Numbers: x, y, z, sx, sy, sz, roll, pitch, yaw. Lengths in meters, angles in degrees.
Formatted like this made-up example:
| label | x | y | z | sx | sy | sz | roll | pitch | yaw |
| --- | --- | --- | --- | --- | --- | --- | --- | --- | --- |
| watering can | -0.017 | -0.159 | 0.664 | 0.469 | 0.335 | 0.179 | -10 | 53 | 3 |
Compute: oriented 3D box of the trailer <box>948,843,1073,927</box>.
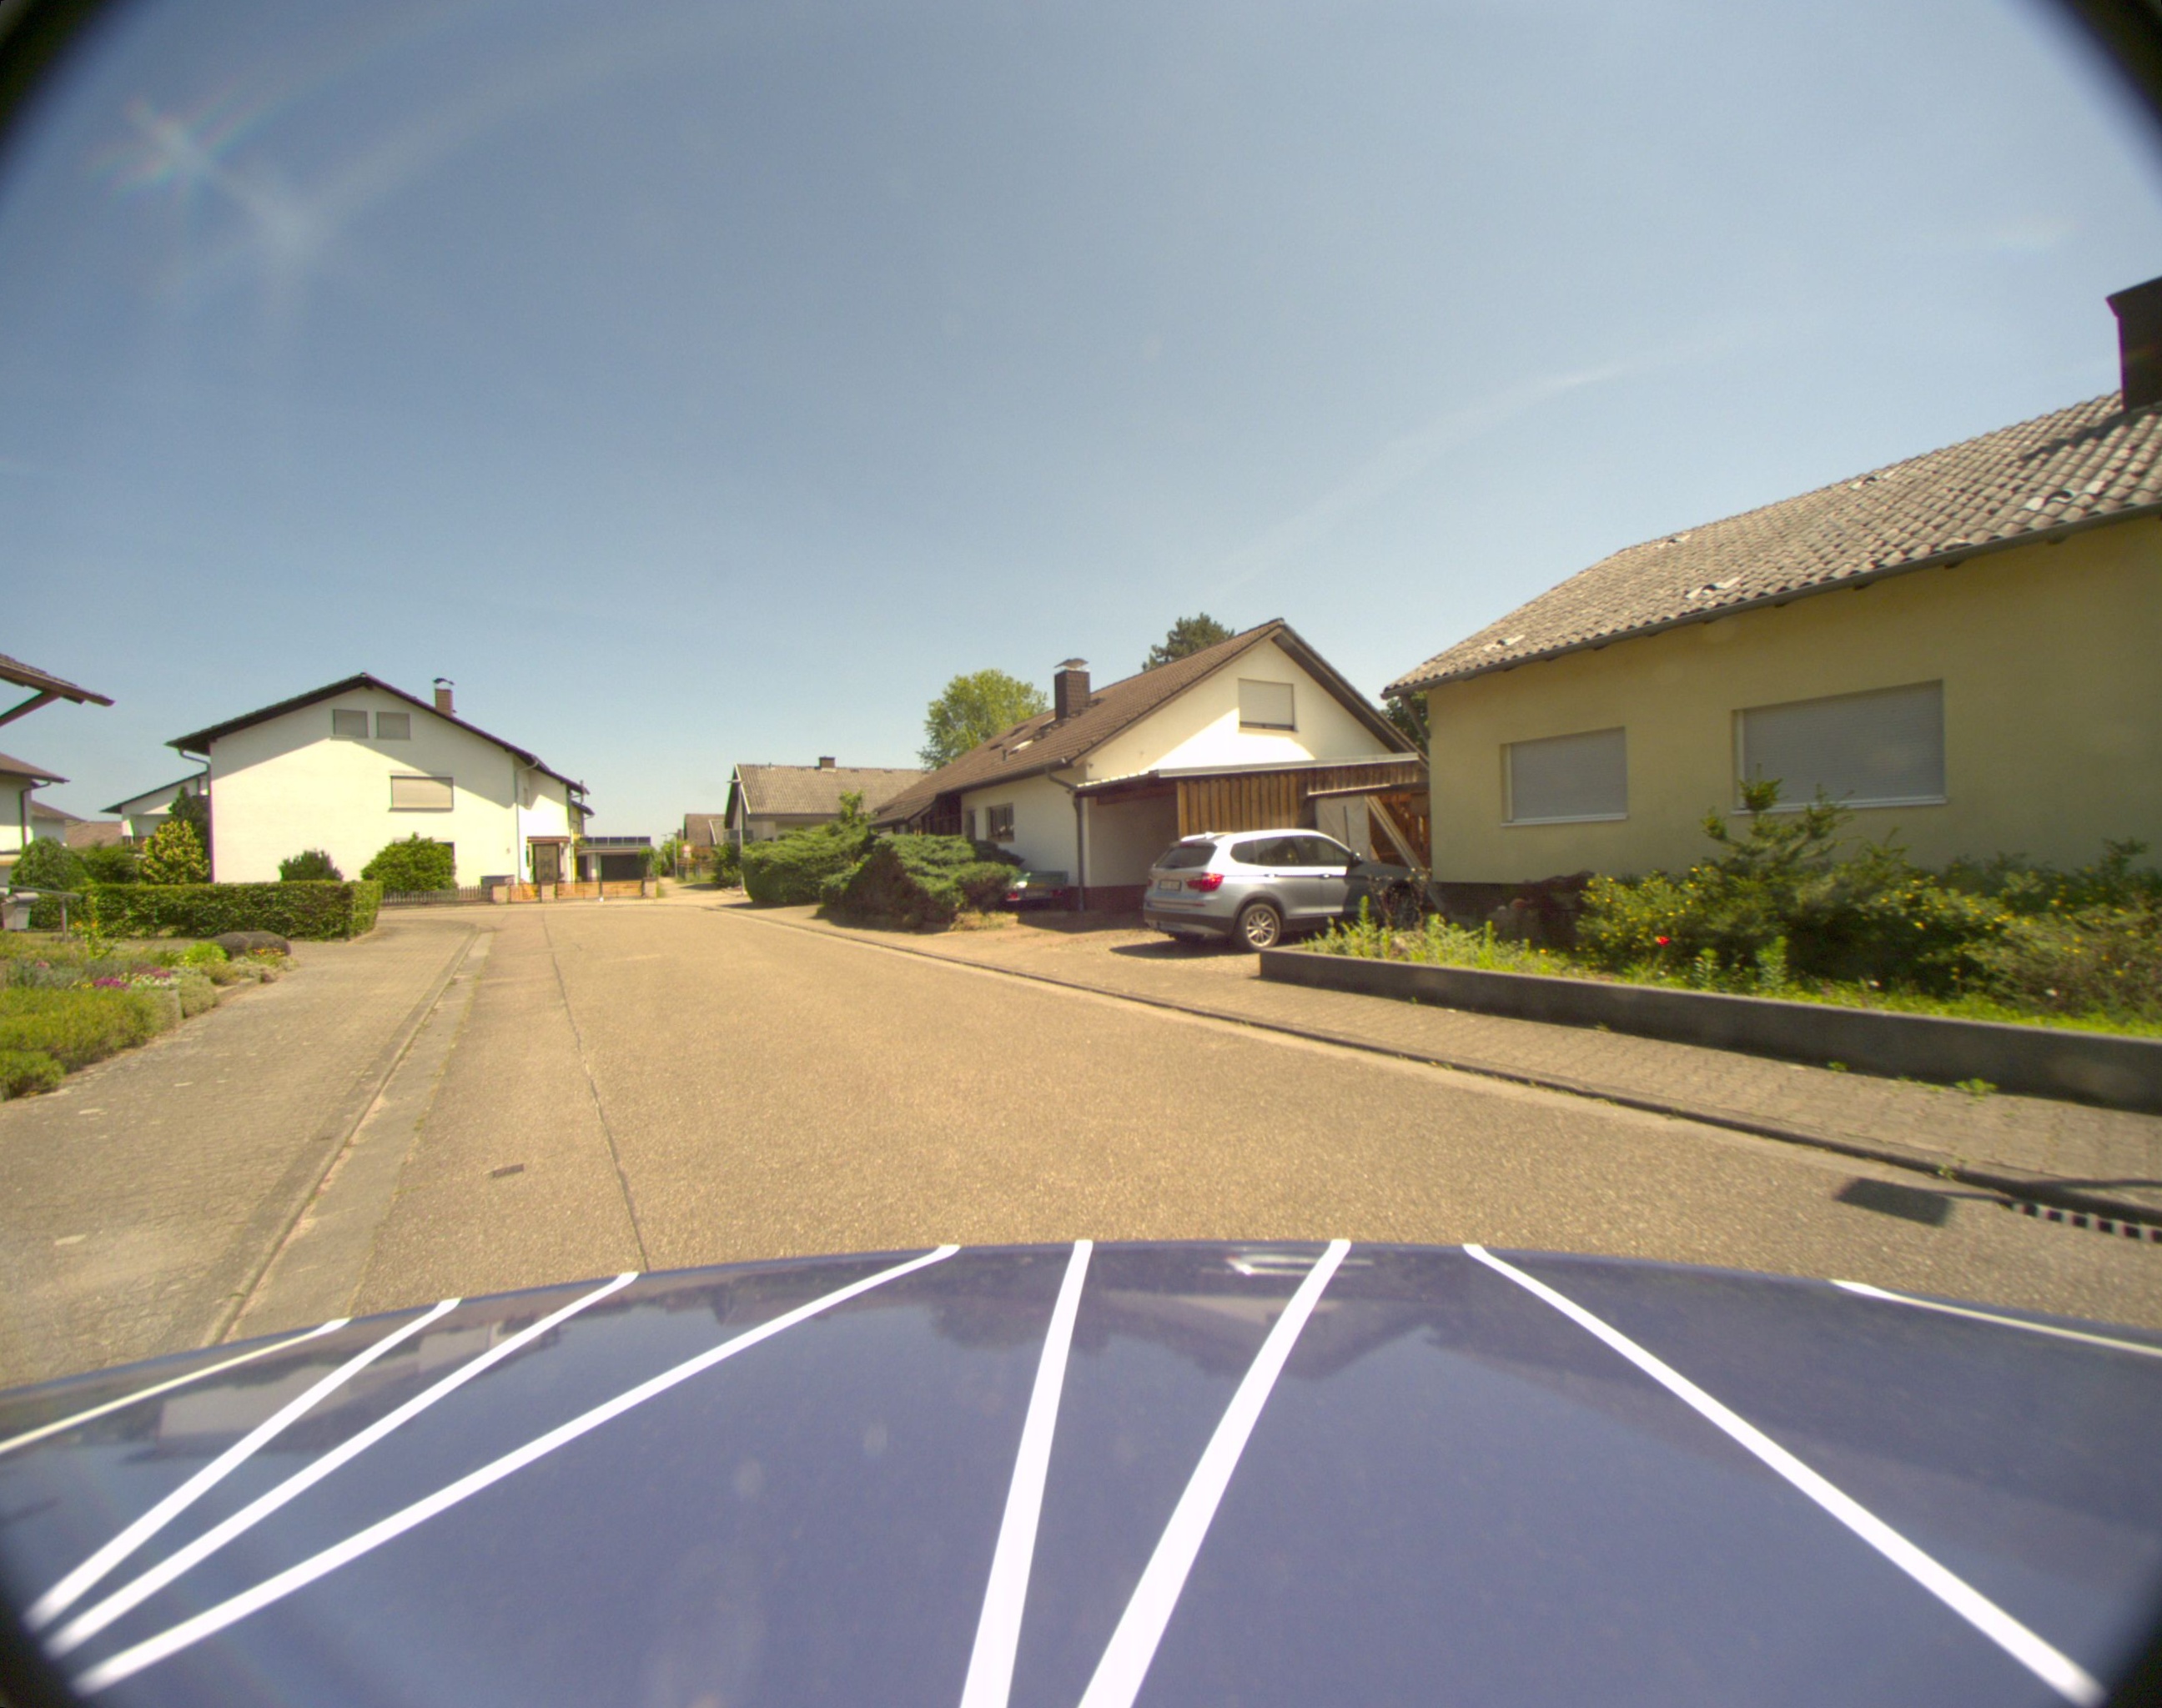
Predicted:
| label | x | y | z | sx | sy | sz | roll | pitch | yaw |
| --- | --- | --- | --- | --- | --- | --- | --- | --- | --- |
| trailer | -1.704 | 0.643 | 17.512 | 1.594 | 1.663 | 3.288 | -4 | 2 | -29 |

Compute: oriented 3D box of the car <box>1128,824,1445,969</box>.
| label | x | y | z | sx | sy | sz | roll | pitch | yaw |
| --- | --- | --- | --- | --- | --- | --- | --- | --- | --- |
| car | 3.201 | 0.517 | 11.575 | 4.648 | 1.692 | 1.706 | -4 | 1 | -27 |
